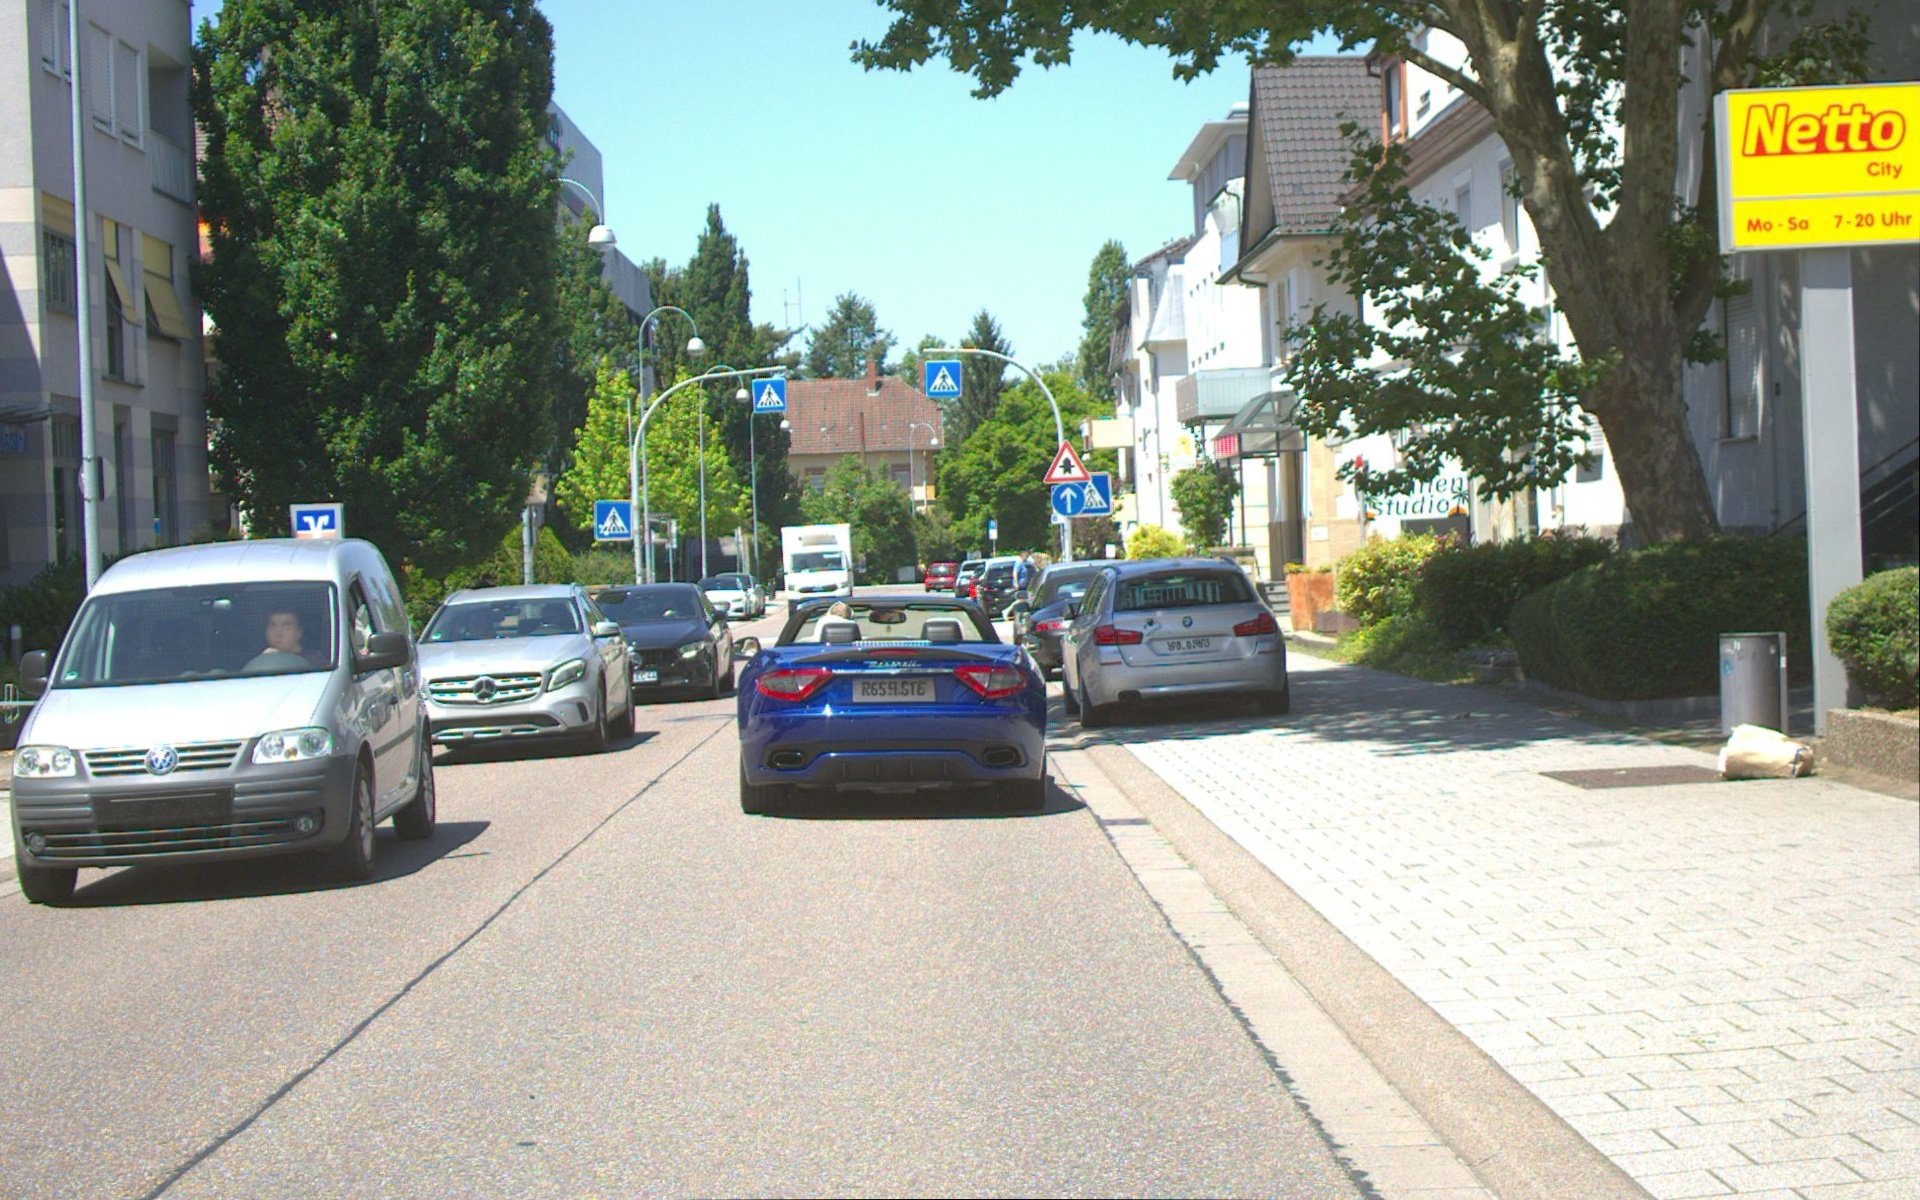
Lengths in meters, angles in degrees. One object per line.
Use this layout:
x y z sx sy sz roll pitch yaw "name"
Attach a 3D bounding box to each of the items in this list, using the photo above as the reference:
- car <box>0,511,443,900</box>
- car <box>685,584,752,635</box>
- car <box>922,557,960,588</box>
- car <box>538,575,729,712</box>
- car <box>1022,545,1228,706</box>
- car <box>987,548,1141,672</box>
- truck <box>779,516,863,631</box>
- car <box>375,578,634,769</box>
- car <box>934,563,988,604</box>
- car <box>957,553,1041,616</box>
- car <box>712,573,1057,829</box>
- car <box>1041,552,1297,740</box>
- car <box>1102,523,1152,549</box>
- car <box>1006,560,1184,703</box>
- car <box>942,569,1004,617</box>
-3.970 0.467 18.553 1.769 1.761 4.138 -4 1 -2 "car"
-7.647 0.290 109.274 1.950 1.471 4.138 -4 1 -3 "car"
-0.973 -1.361 172.247 1.769 1.471 4.137 -2 0 -1 "car"
-3.951 0.491 42.249 1.950 1.471 4.138 -4 1 -1 "car"
1.798 0.238 38.859 1.976 1.551 4.349 -4 1 0 "car"
1.476 0.107 50.386 1.976 1.551 4.349 -4 1 0 "car"
-4.539 -0.861 111.914 2.420 3.470 7.004 -4 1 -3 "truck"
-4.006 0.604 30.840 1.769 1.471 4.138 -4 1 -1 "car"
0.022 -0.653 133.948 1.950 1.471 4.138 -4 1 -1 "car"
0.972 -0.414 88.912 1.950 1.471 4.138 -4 1 -1 "car"
-0.524 0.570 22.344 1.976 1.393 4.627 -1 1 -2 "car"
1.864 0.366 31.969 1.976 1.445 4.349 -4 1 0 "car"
10.618 -4.045 218.115 1.952 1.471 4.134 -3 1 20 "car"
1.681 0.357 44.215 1.976 1.551 4.349 -4 1 0 "car"
0.427 -0.259 117.175 1.950 1.471 4.138 -4 1 -1 "car"
